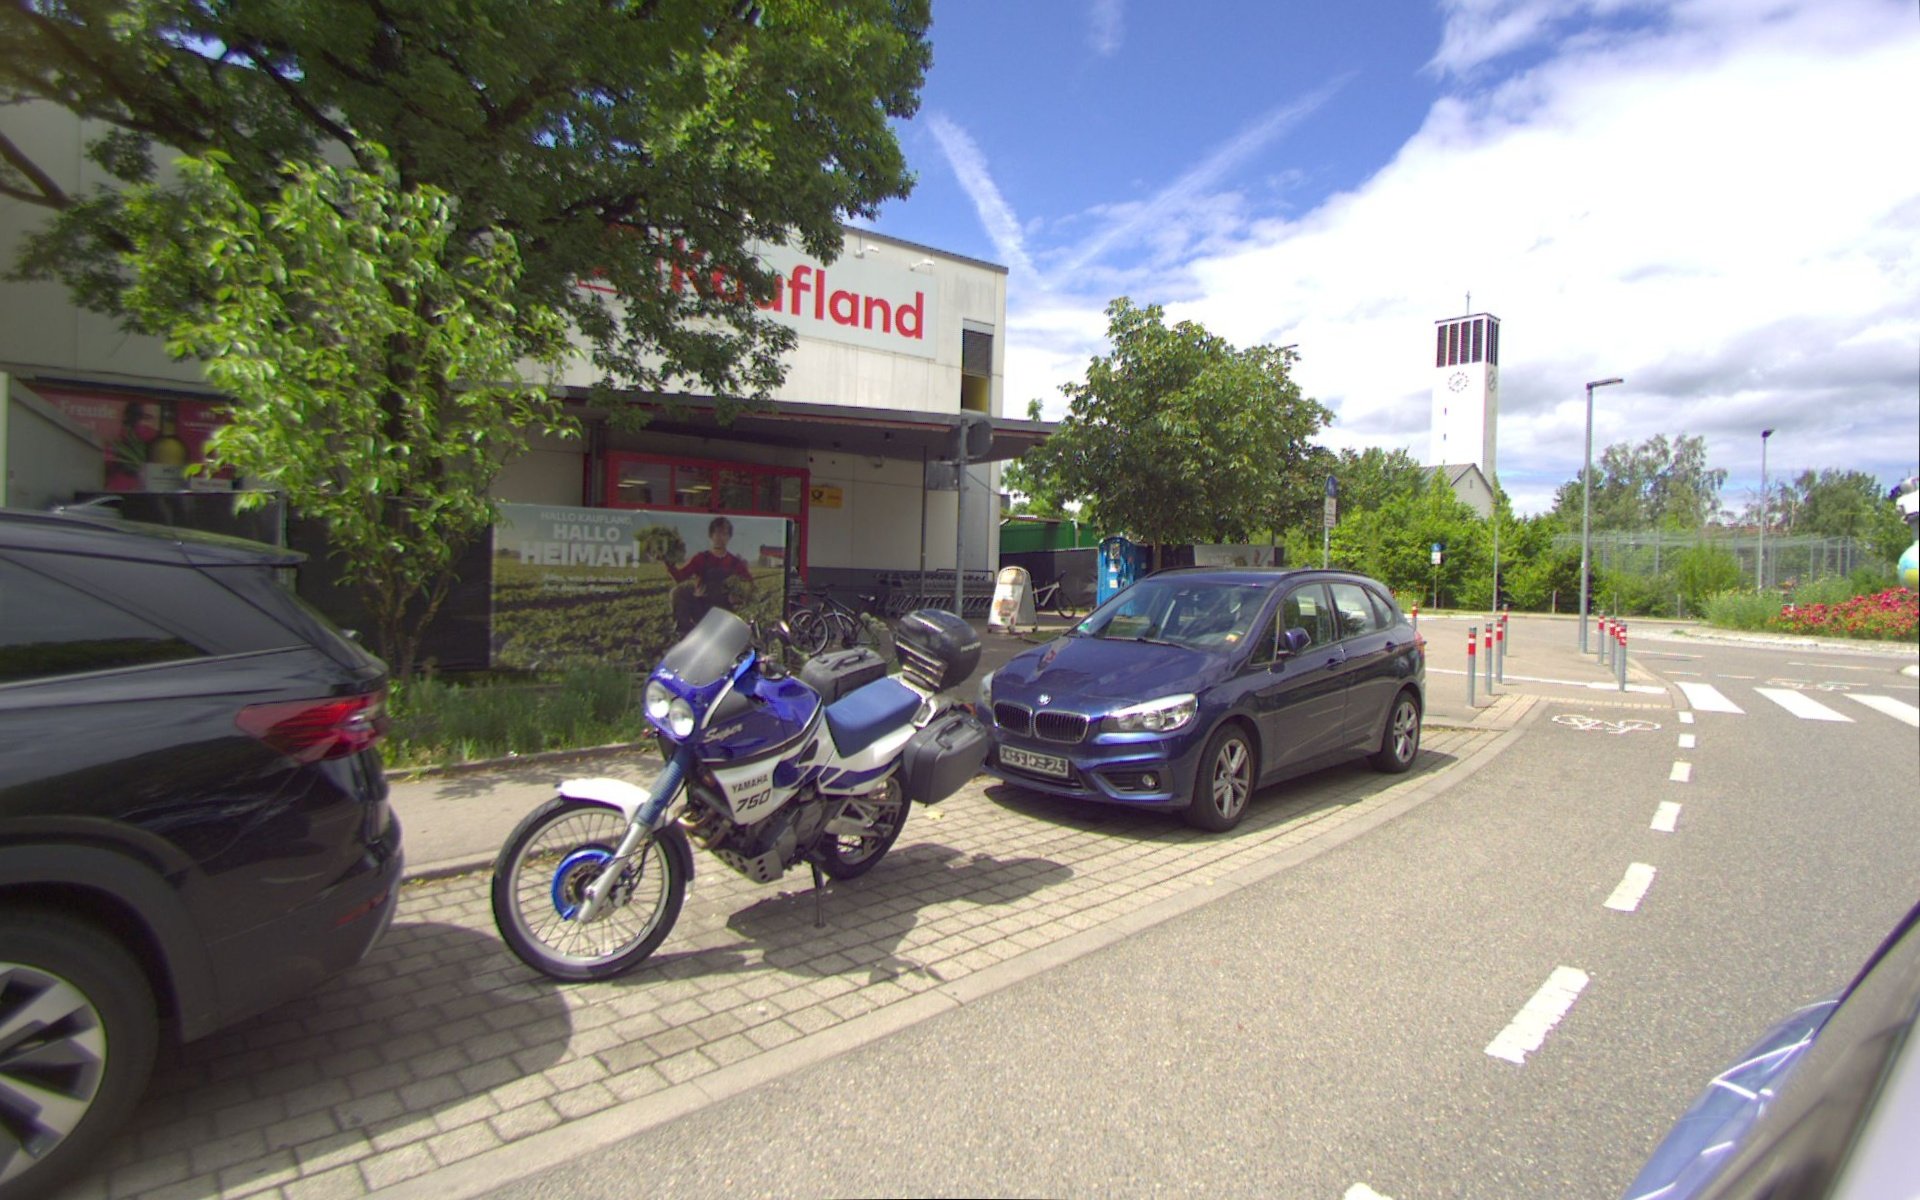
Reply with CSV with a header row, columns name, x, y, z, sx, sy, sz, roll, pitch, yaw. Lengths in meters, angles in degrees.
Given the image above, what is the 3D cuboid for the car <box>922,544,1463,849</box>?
name,x,y,z,sx,sy,sz,roll,pitch,yaw
car,1.968,0.449,7.609,1.918,1.597,4.358,4,4,45

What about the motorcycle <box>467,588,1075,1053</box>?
name,x,y,z,sx,sy,sz,roll,pitch,yaw
motorcycle,-0.675,0.651,4.182,2.223,1.321,1.073,-1,5,-44

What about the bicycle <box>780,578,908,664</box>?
name,x,y,z,sx,sy,sz,roll,pitch,yaw
bicycle,-1.650,0.282,14.445,1.753,1.170,0.452,0,1,-23

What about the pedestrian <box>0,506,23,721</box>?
name,x,y,z,sx,sy,sz,roll,pitch,yaw
pedestrian,-7.821,0.096,7.811,0.753,1.638,0.745,0,1,-35

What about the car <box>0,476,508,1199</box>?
name,x,y,z,sx,sy,sz,roll,pitch,yaw
car,-3.674,0.520,1.972,4.764,1.641,1.882,-1,3,-42

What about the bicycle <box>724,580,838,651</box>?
name,x,y,z,sx,sy,sz,roll,pitch,yaw
bicycle,-2.842,0.224,16.176,1.769,1.053,0.521,-1,2,-40

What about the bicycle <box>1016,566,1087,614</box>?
name,x,y,z,sx,sy,sz,roll,pitch,yaw
bicycle,2.457,-0.273,27.171,1.752,1.249,0.710,1,1,23

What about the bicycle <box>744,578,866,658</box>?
name,x,y,z,sx,sy,sz,roll,pitch,yaw
bicycle,-2.324,0.254,15.168,1.735,1.170,0.502,0,1,-19

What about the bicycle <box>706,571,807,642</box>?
name,x,y,z,sx,sy,sz,roll,pitch,yaw
bicycle,-3.447,0.094,17.194,1.629,1.170,0.426,0,1,-33
